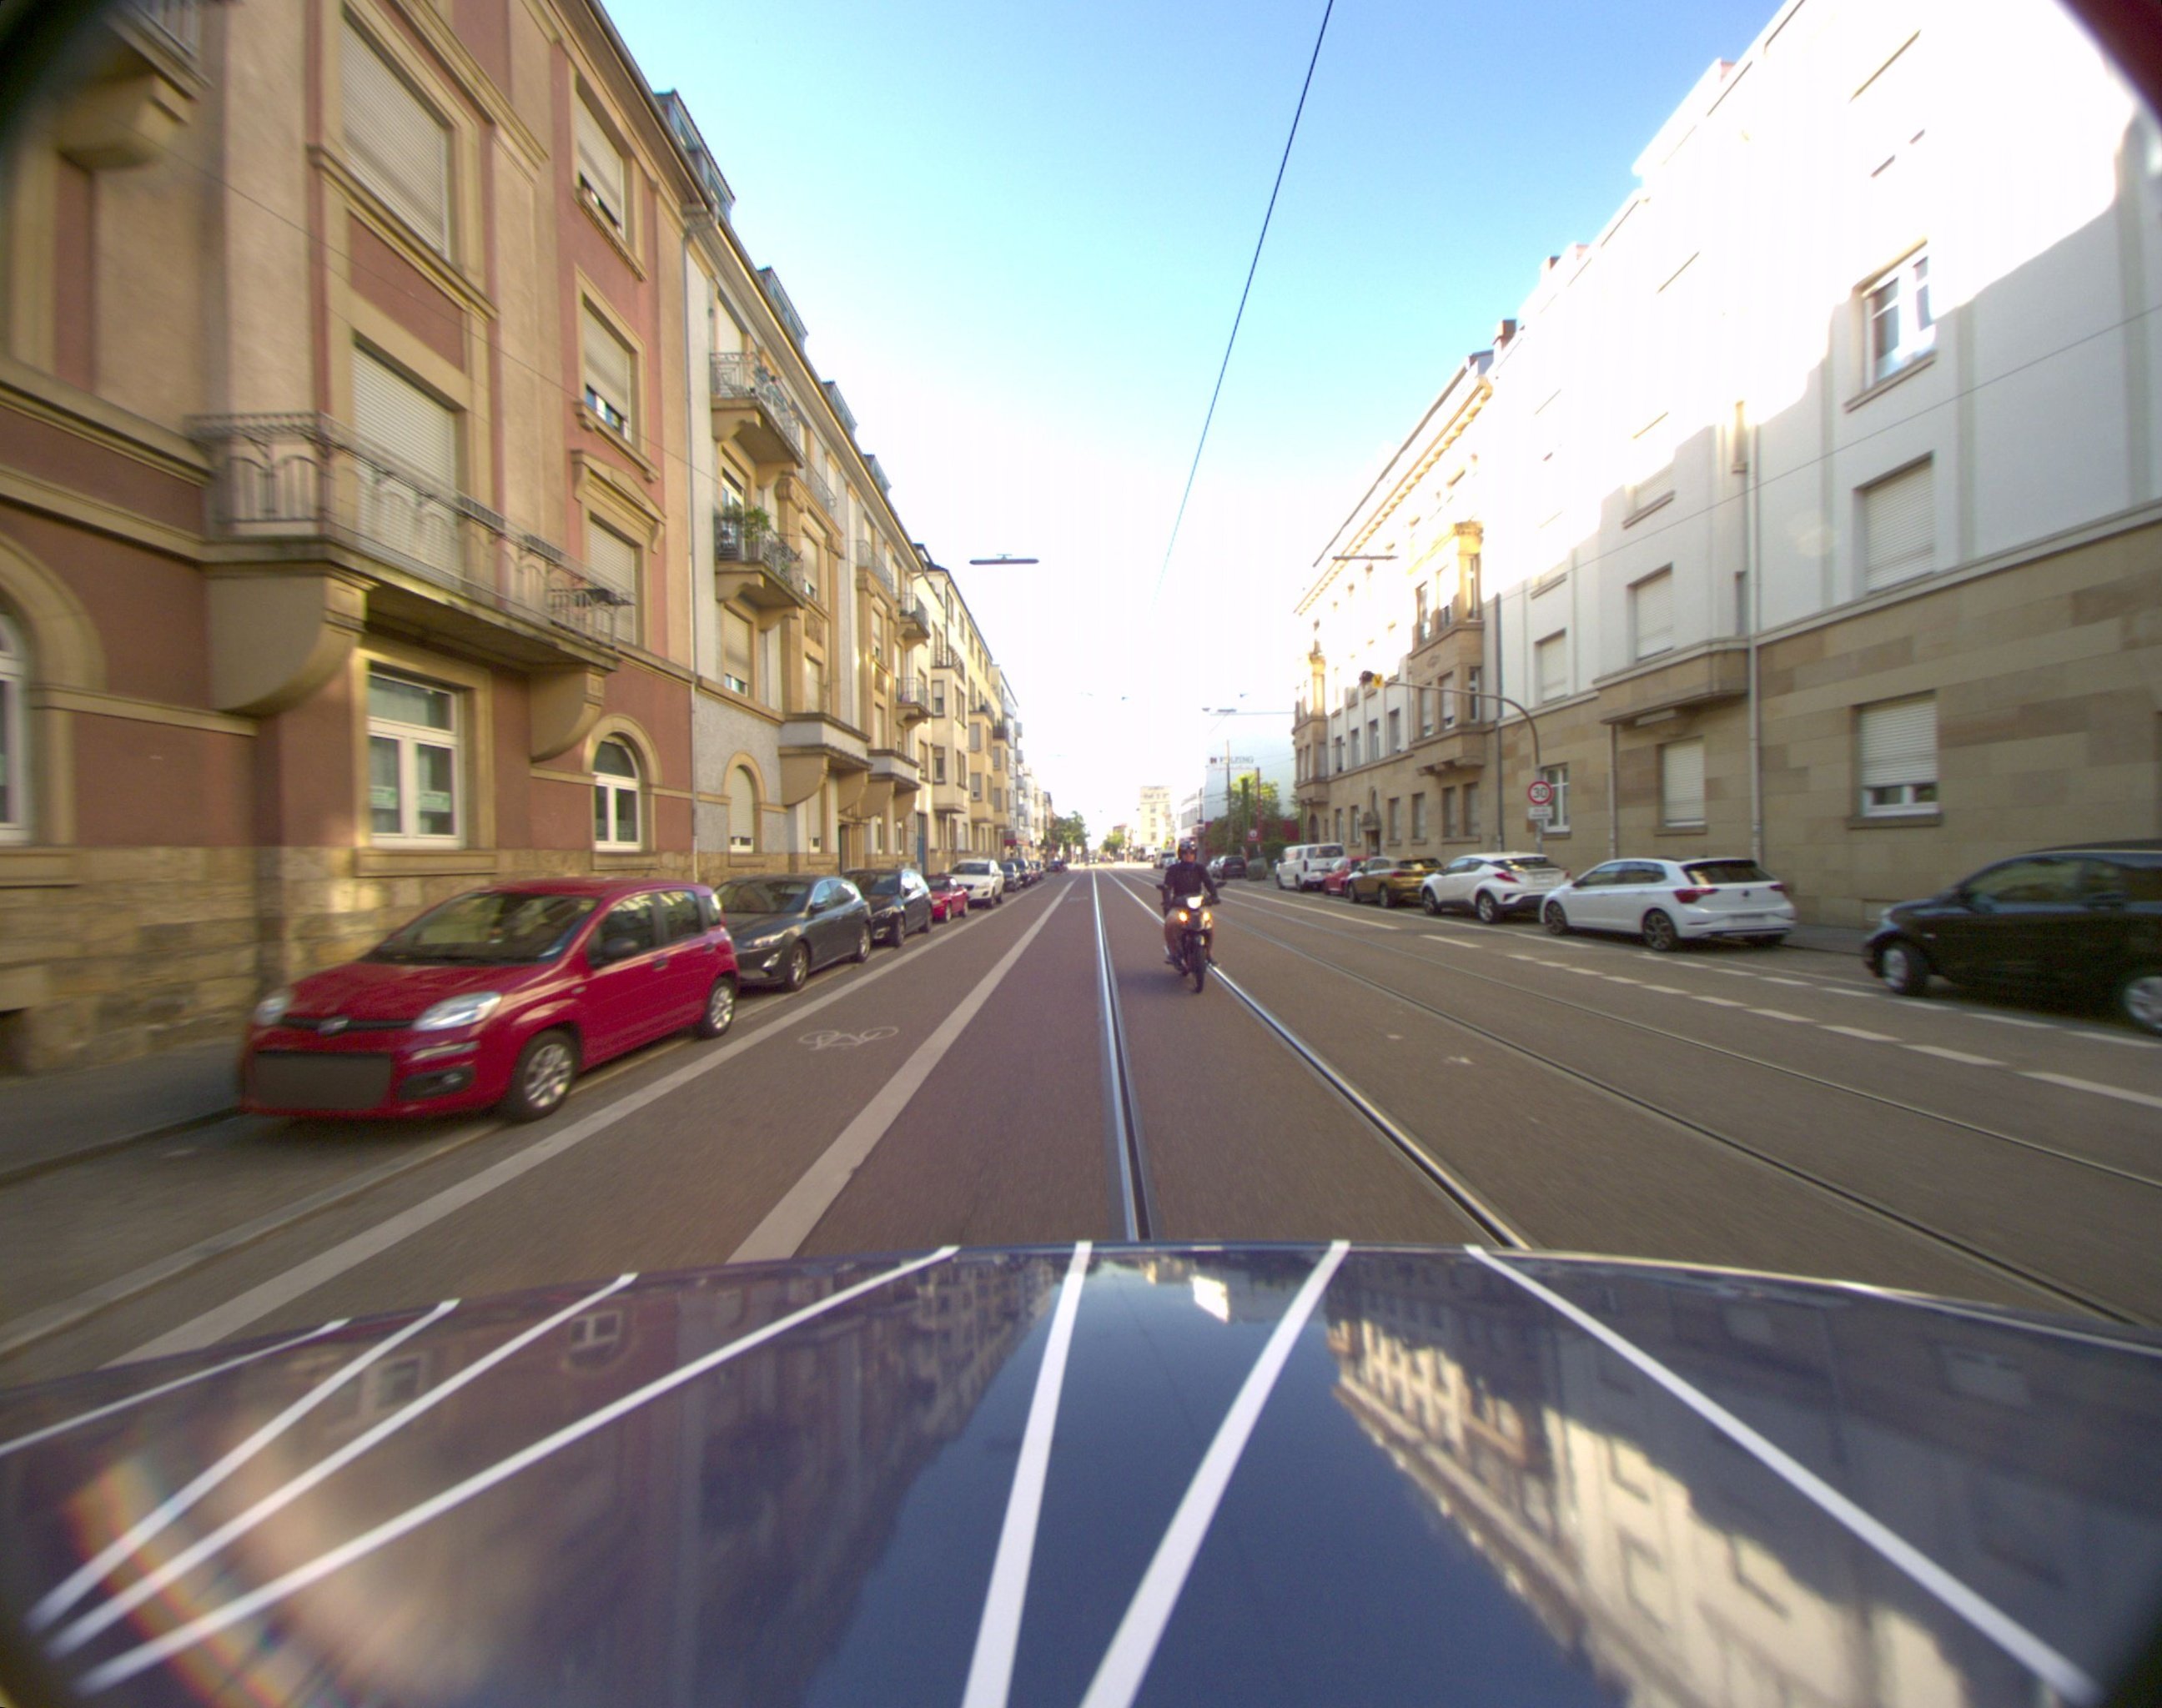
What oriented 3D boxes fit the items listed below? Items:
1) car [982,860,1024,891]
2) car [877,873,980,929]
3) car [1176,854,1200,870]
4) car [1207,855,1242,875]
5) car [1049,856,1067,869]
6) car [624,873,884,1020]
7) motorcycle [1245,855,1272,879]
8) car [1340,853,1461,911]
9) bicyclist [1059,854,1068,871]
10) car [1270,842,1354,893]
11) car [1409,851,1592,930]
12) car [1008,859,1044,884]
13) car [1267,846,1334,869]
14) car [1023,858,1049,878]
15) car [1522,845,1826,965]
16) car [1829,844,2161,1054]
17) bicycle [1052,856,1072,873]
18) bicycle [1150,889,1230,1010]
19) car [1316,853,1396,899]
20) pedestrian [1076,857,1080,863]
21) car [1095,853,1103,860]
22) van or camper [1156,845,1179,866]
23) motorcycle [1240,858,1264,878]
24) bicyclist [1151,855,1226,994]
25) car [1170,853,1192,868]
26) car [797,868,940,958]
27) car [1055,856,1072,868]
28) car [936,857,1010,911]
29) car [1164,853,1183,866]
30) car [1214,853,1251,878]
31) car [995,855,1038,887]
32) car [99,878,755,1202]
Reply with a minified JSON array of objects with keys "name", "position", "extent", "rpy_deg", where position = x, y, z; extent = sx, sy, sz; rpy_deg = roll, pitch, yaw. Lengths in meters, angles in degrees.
[{"name":"car","position":[-3.865,1.033,38.054],"extent":[1.742,1.433,4.032],"rpy_deg":[-1,0,-1]},{"name":"car","position":[-4.095,1.225,21.118],"extent":[1.658,1.242,4.505],"rpy_deg":[-1,0,4]},{"name":"car","position":[10.632,0.791,75.650],"extent":[1.787,1.437,4.842],"rpy_deg":[-3,0,1]},{"name":"car","position":[10.656,0.785,56.695],"extent":[1.787,1.306,4.221],"rpy_deg":[-3,0,1]},{"name":"car","position":[-2.599,0.998,87.435],"extent":[1.714,1.399,4.358],"rpy_deg":[1,0,2]},{"name":"car","position":[-4.269,1.105,10.814],"extent":[1.658,1.504,4.474],"rpy_deg":[-1,0,1]},{"name":"motorcycle","position":[10.472,0.779,44.807],"extent":[0.884,1.343,1.961],"rpy_deg":[-2,0,34]},{"name":"car","position":[9.542,0.762,23.109],"extent":[1.788,1.515,4.360],"rpy_deg":[-3,0,0]},{"name":"bicyclist","position":[-1.794,0.870,77.542],"extent":[0.845,1.692,0.510],"rpy_deg":[-2,1,1]},{"name":"car","position":[9.908,0.522,33.067],"extent":[1.978,1.937,5.251],"rpy_deg":[-3,0,0]},{"name":"car","position":[9.601,0.752,17.869],"extent":[1.776,1.538,4.365],"rpy_deg":[-3,0,-1]},{"name":"car","position":[-3.590,1.137,50.638],"extent":[1.863,1.447,4.710],"rpy_deg":[-1,0,2]},{"name":"car","position":[16.137,0.255,55.883],"extent":[4.804,1.509,1.995],"rpy_deg":[-2,0,-32]},{"name":"car","position":[-3.457,1.079,58.961],"extent":[1.722,1.482,4.002],"rpy_deg":[0,0,1]},{"name":"car","position":[9.636,0.724,12.882],"extent":[1.788,1.612,4.179],"rpy_deg":[-3,0,-1]},{"name":"car","position":[9.283,0.731,7.002],"extent":[1.787,1.543,3.019],"rpy_deg":[-3,0,1]},{"name":"bicycle","position":[-1.932,1.061,77.559],"extent":[1.935,1.700,0.775],"rpy_deg":[-2,1,1]},{"name":"bicycle","position":[1.240,1.062,8.976],"extent":[0.767,1.191,1.752],"rpy_deg":[-1,0,3]},{"name":"car","position":[9.997,0.759,27.879],"extent":[1.606,1.464,3.646],"rpy_deg":[-3,0,1]},{"name":"pedestrian","position":[-0.670,1.145,154.355],"extent":[0.774,1.197,0.610],"rpy_deg":[-1,1,-7]},{"name":"car","position":[4.446,0.621,184.700],"extent":[1.970,1.577,4.000],"rpy_deg":[-2,0,1]},{"name":"van or camper","position":[11.052,0.178,97.532],"extent":[2.177,2.453,6.232],"rpy_deg":[-3,0,0]},{"name":"motorcycle","position":[10.539,0.854,46.745],"extent":[0.740,1.164,2.184],"rpy_deg":[-2,0,31]},{"name":"bicyclist","position":[1.243,0.791,8.944],"extent":[0.774,1.531,0.939],"rpy_deg":[-1,1,3]},{"name":"car","position":[10.671,0.676,81.434],"extent":[1.787,1.472,4.699],"rpy_deg":[-3,0,1]},{"name":"car","position":[-4.204,1.098,15.766],"extent":[1.658,1.474,4.474],"rpy_deg":[-1,0,0]},{"name":"car","position":[-2.240,1.017,97.954],"extent":[1.861,1.498,4.096],"rpy_deg":[1,0,2]},{"name":"car","position":[-3.726,0.989,26.977],"extent":[1.847,1.681,4.505],"rpy_deg":[-1,0,1]},{"name":"car","position":[10.963,0.626,90.468],"extent":[1.787,1.390,4.445],"rpy_deg":[-3,0,2]},{"name":"car","position":[10.189,0.734,51.366],"extent":[1.787,1.556,4.611],"rpy_deg":[-3,0,3]},{"name":"car","position":[-3.641,0.941,43.791],"extent":[1.863,1.656,4.562],"rpy_deg":[-1,0,2]},{"name":"car","position":[-4.306,1.061,5.926],"extent":[1.757,1.585,3.730],"rpy_deg":[-1,0,2]}]
